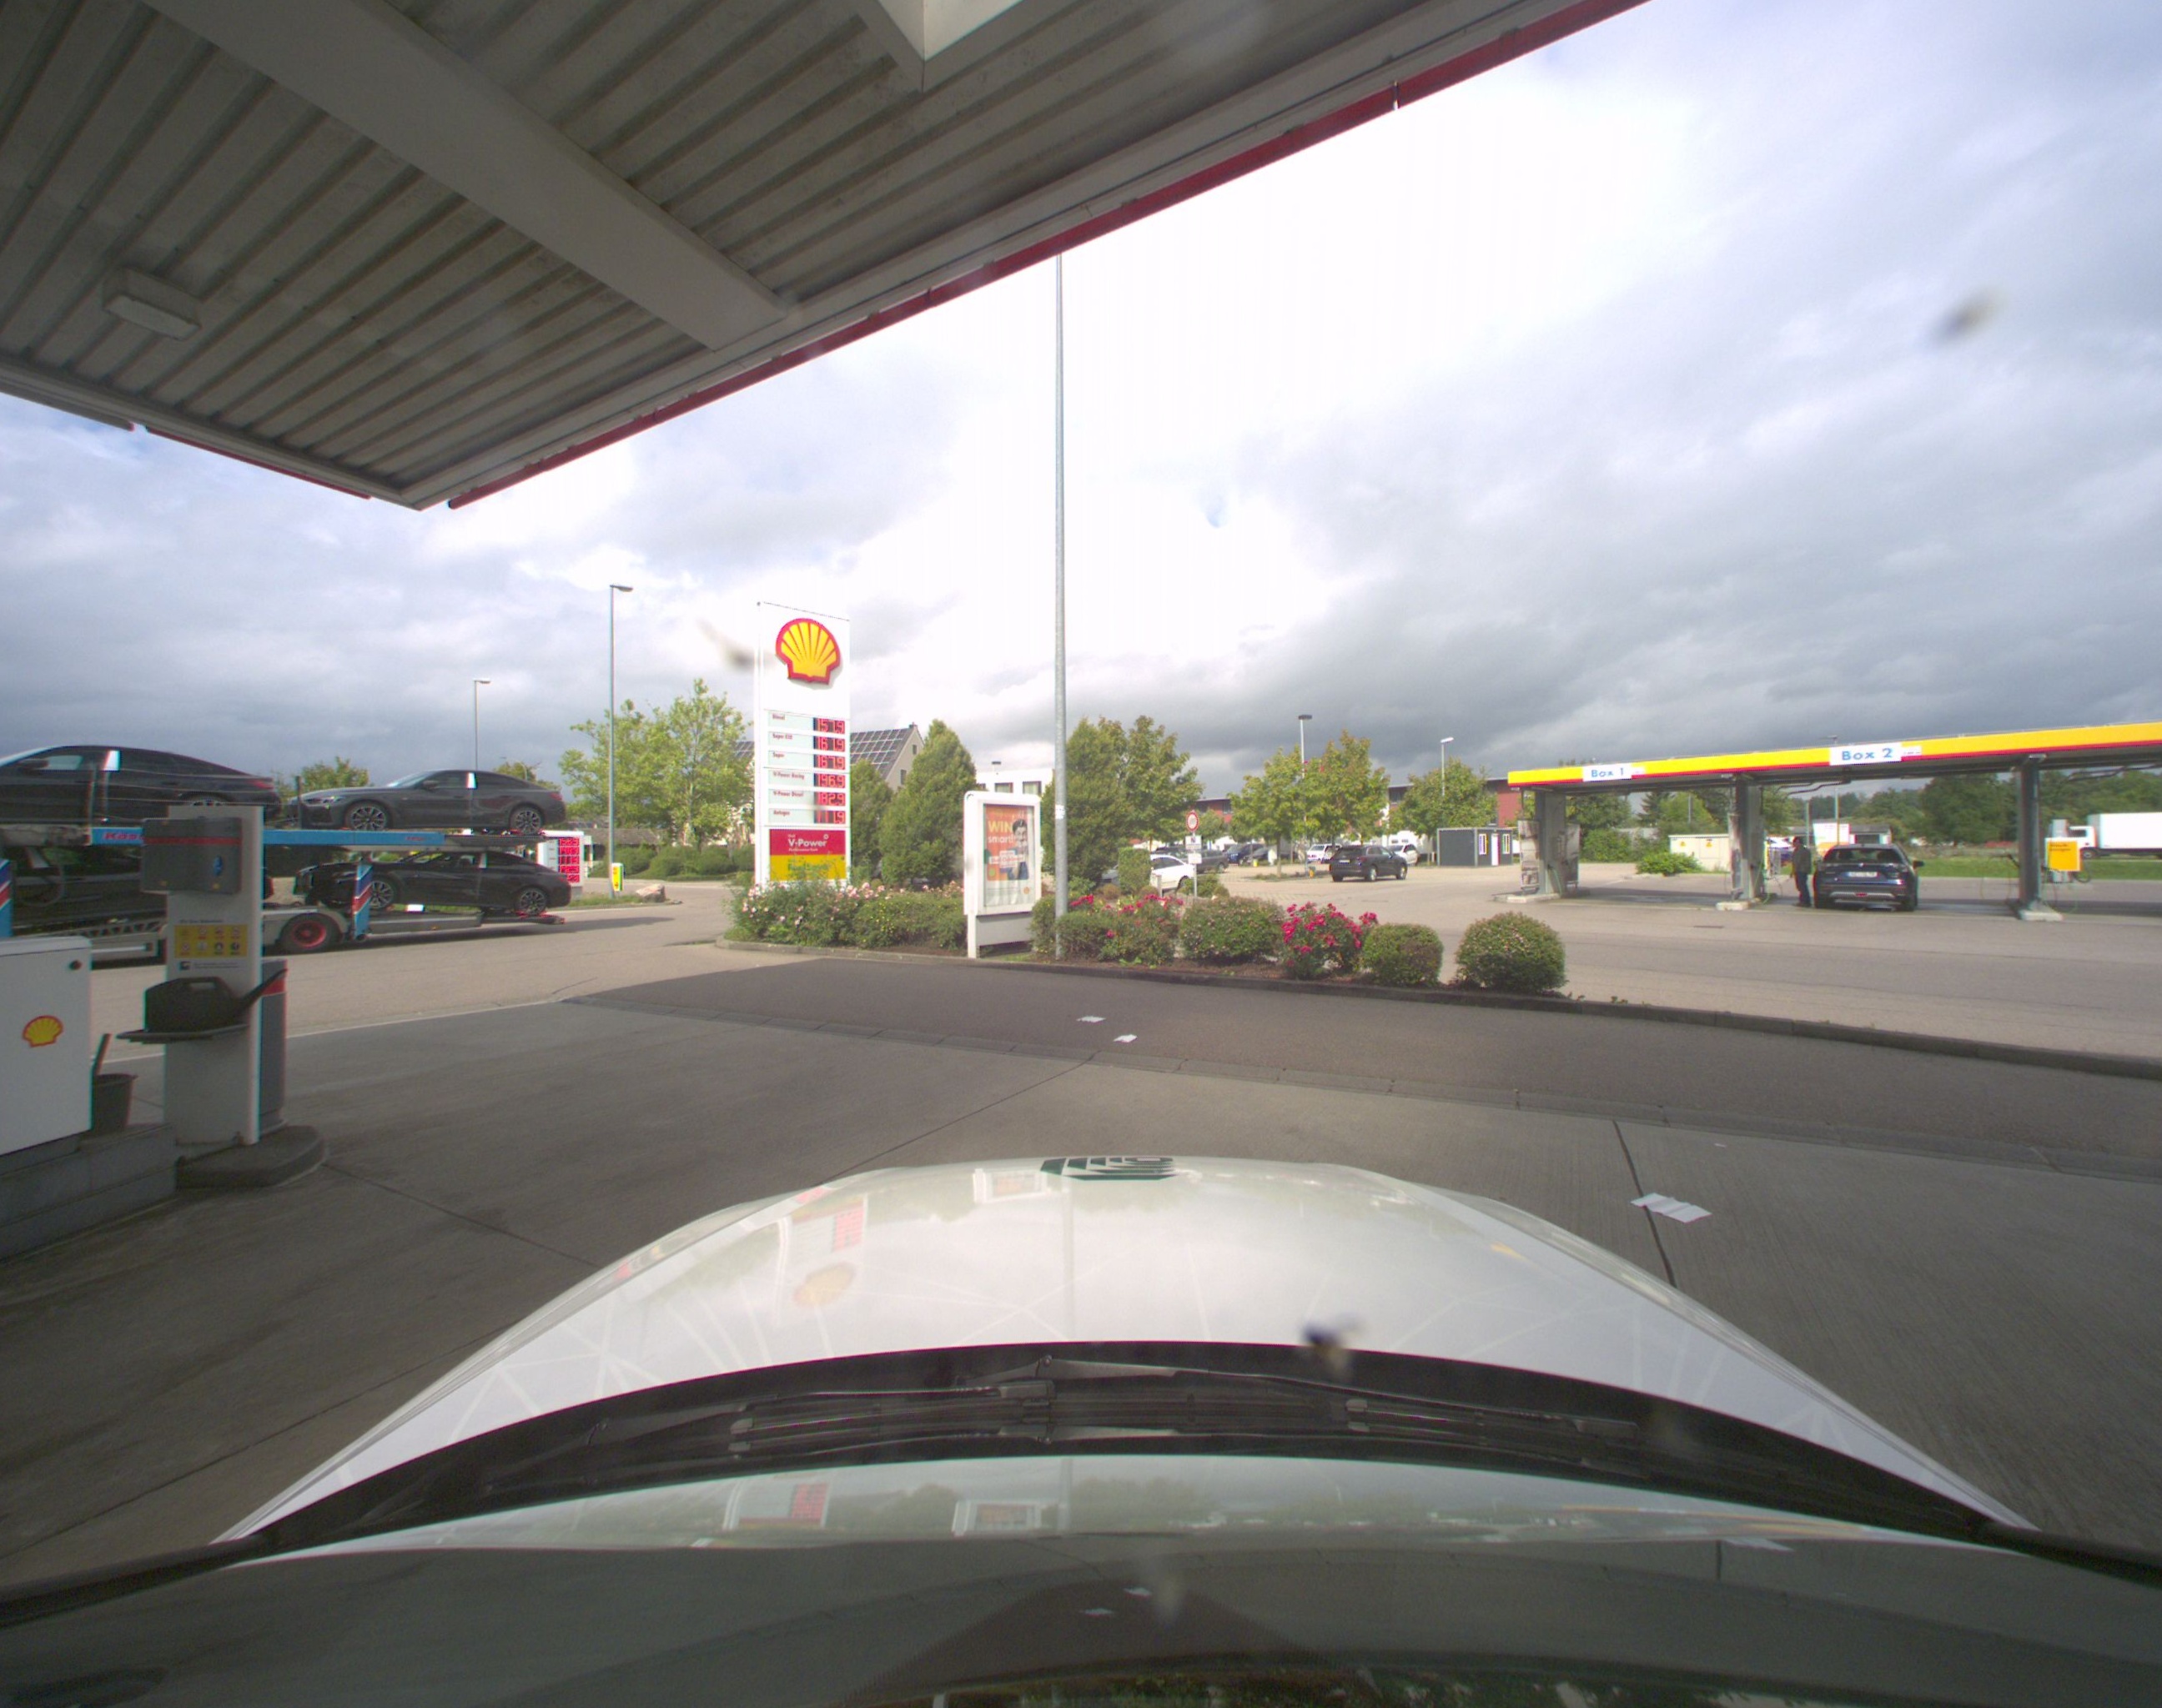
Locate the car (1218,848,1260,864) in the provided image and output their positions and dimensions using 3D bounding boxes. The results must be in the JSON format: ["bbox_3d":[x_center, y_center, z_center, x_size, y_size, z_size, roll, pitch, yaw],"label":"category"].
[{"bbox_3d":[12.941,0.181,66.654,3.407,1.320,1.726,0,-1,-42],"label":"car"}]

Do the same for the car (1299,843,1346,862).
[{"bbox_3d":[23.863,-0.125,80.264,4.903,1.833,2.159,0,-1,-41],"label":"car"}]

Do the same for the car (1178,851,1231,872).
[{"bbox_3d":[7.532,0.449,49.699,3.245,1.228,1.488,0,-1,-42],"label":"car"}]

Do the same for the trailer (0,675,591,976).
[{"bbox_3d":[-16.440,-0.406,13.676,2.711,4.423,14.450,-1,-1,31],"label":"trailer"}]

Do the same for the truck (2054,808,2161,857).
[{"bbox_3d":[78.222,-1.571,60.007,7.989,3.534,2.714,-1,-1,41],"label":"truck"}]

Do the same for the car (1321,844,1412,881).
[{"bbox_3d":[12.869,0.375,36.574,4.527,1.548,1.864,0,-1,-41],"label":"car"}]

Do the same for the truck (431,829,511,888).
[{"bbox_3d":[-41.738,0.342,55.671,5.842,3.846,2.759,-1,-1,36],"label":"truck"}]

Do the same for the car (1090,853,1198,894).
[{"bbox_3d":[2.388,0.686,30.014,4.368,1.404,1.354,0,-1,-42],"label":"car"}]

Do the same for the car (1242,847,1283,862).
[{"bbox_3d":[14.483,0.033,64.870,3.437,1.179,1.468,0,-1,-42],"label":"car"}]

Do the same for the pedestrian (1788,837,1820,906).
[{"bbox_3d":[18.274,0.439,20.599,0.551,1.722,0.531,-1,-1,38],"label":"pedestrian"}]

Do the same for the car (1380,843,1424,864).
[{"bbox_3d":[20.599,-0.048,52.210,3.120,1.307,1.352,0,-1,-42],"label":"car"}]

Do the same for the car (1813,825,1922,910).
[{"bbox_3d":[19.433,0.315,20.070,3.828,1.897,1.703,0,-1,-43],"label":"car"}]
